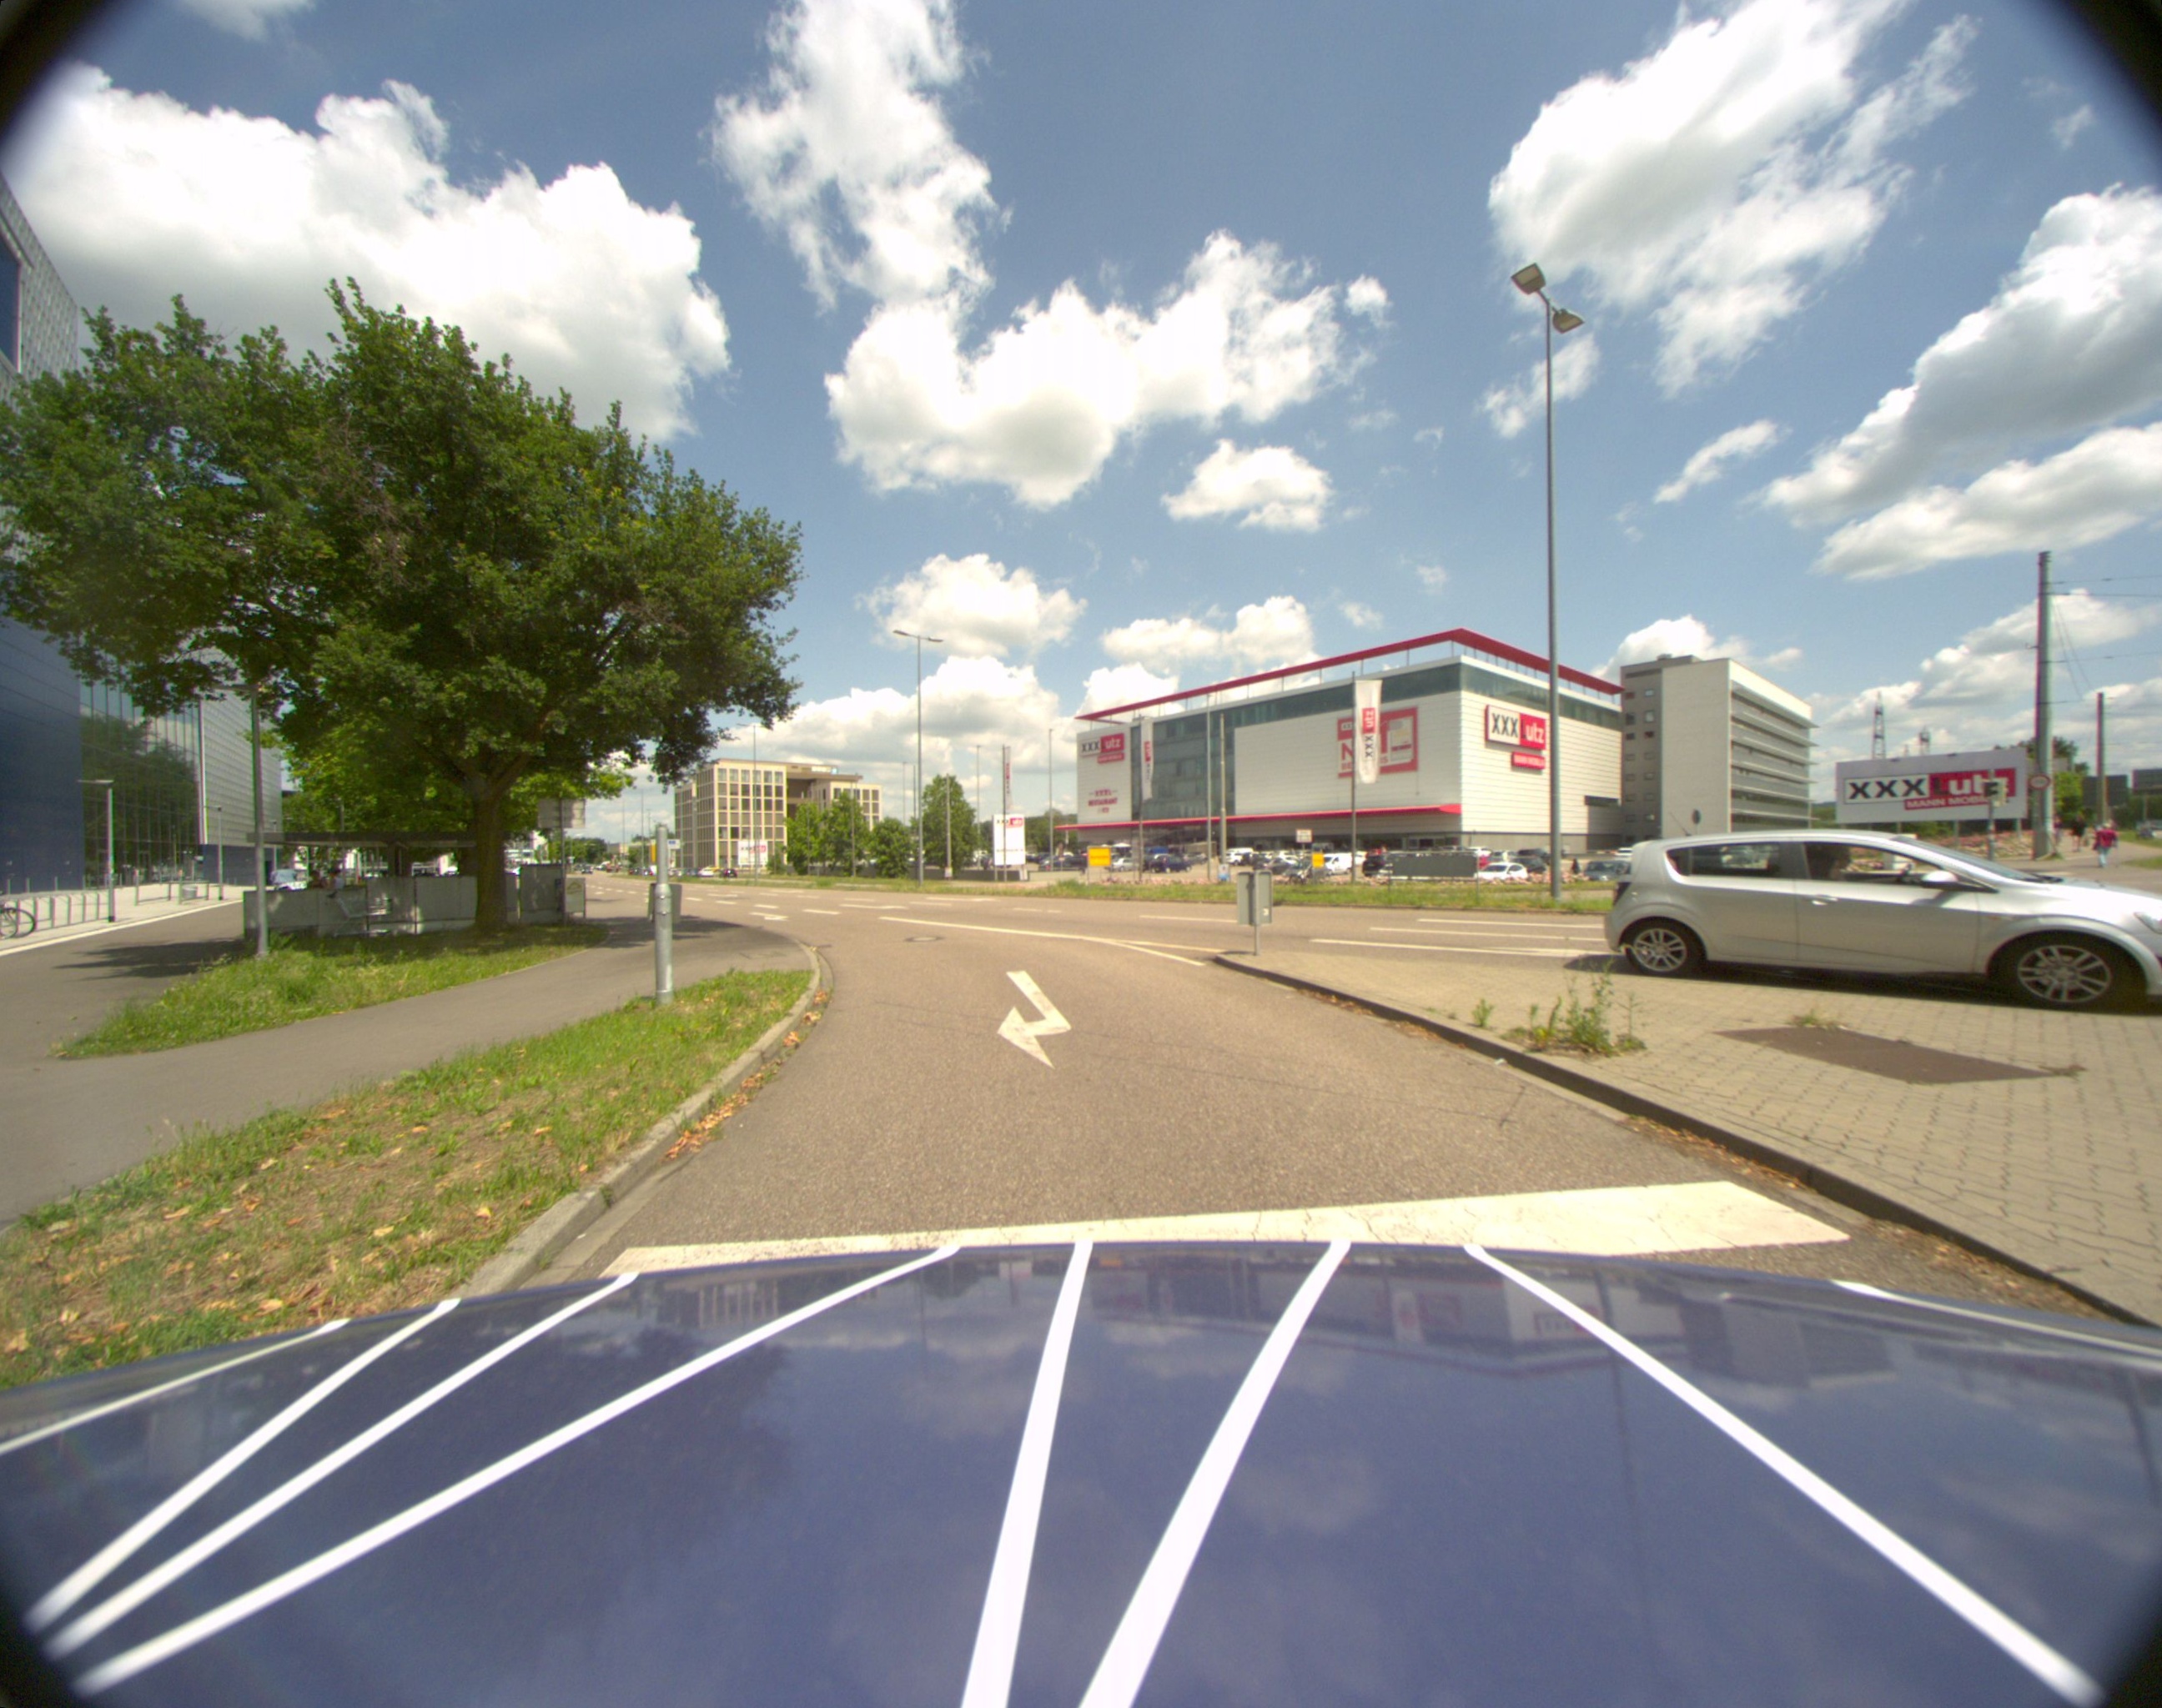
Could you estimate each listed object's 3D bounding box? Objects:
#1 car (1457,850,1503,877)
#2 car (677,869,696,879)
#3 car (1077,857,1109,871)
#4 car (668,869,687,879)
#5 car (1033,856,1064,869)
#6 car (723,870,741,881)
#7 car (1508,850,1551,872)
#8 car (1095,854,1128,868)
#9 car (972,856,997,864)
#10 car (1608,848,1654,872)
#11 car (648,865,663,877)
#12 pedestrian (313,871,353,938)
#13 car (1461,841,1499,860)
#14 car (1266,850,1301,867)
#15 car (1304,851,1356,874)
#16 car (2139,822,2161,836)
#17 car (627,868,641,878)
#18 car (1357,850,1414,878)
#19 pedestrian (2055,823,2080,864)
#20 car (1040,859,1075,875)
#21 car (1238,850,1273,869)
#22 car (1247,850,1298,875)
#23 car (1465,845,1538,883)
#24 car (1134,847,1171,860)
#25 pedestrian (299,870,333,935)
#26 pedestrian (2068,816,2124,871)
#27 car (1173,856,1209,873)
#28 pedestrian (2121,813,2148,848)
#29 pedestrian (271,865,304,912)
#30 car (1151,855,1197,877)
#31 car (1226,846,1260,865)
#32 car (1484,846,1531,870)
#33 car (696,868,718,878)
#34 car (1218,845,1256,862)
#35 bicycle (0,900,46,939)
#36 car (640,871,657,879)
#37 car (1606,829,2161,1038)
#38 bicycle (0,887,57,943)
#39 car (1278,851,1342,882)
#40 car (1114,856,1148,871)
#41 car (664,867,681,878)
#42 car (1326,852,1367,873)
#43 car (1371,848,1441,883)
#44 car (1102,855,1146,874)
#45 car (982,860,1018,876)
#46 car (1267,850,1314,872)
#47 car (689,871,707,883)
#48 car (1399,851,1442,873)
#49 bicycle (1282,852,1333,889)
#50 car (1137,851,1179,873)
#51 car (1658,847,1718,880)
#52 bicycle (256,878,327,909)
[{"bbox_3d":[30.068,0.683,57.209,1.994,1.977,5.320,-1,0,39],"label":"car"},{"bbox_3d":[-57.214,2.901,110.167,1.801,1.409,4.662,1,-1,-37],"label":"car"},{"bbox_3d":[1.789,1.444,110.300,4.371,1.977,1.995,-1,0,-39],"label":"car"},{"bbox_3d":[-61.280,3.027,115.439,1.801,1.393,4.833,-1,-1,-37],"label":"car"},{"bbox_3d":[-4.957,1.258,116.709,4.371,1.977,1.995,-1,0,-39],"label":"car"},{"bbox_3d":[-50.487,3.125,109.847,1.627,1.461,4.106,0,-1,-35],"label":"car"},{"bbox_3d":[40.653,0.615,68.864,4.371,1.977,1.995,-1,0,-39],"label":"car"},{"bbox_3d":[4.232,0.946,105.569,4.371,1.977,1.995,-1,0,-39],"label":"car"},{"bbox_3d":[-16.893,1.041,133.082,3.840,1.461,1.851,0,-1,-36],"label":"car"},{"bbox_3d":[45.295,0.480,62.500,4.371,1.977,1.995,-1,0,-39],"label":"car"},{"bbox_3d":[-73.827,2.958,131.829,1.867,2.031,3.567,0,-1,-35],"label":"car"},{"bbox_3d":[-18.790,1.248,19.091,0.547,1.652,0.545,-1,0,-28],"label":"pedestrian"},{"bbox_3d":[42.833,-0.418,81.537,4.094,1.977,1.995,-1,0,-37],"label":"car"},{"bbox_3d":[23.789,0.530,89.153,4.008,2.002,1.995,-1,0,-39],"label":"car"},{"bbox_3d":[20.217,0.679,61.591,4.371,1.828,1.995,-1,0,-39],"label":"car"},{"bbox_3d":[168.855,-3.939,119.866,4.007,2.001,1.995,0,-1,-32],"label":"car"},{"bbox_3d":[-76.472,3.291,130.013,1.801,1.634,4.160,0,-1,-35],"label":"car"},{"bbox_3d":[22.970,0.716,57.164,4.605,1.978,1.994,-2,1,-39],"label":"car"},{"bbox_3d":[44.051,-0.450,33.928,0.535,1.800,0.596,-1,0,-28],"label":"pedestrian"},{"bbox_3d":[-3.084,1.729,99.608,4.309,2.030,1.986,-1,0,-39],"label":"car"},{"bbox_3d":[19.752,0.604,86.031,4.008,2.002,1.772,-1,0,-39],"label":"car"},{"bbox_3d":[16.363,0.712,64.869,4.371,1.977,1.995,-1,0,-39],"label":"car"},{"bbox_3d":[22.979,0.528,41.477,4.008,2.002,1.995,-1,0,-37],"label":"car"},{"bbox_3d":[10.133,-0.007,107.461,5.144,1.768,2.193,0,-1,-40],"label":"car"},{"bbox_3d":[-19.778,1.242,19.645,0.547,1.652,0.477,-1,0,-40],"label":"pedestrian"},{"bbox_3d":[35.081,-0.364,26.268,0.865,1.827,0.799,-2,2,23],"label":"pedestrian"},{"bbox_3d":[13.662,1.312,94.155,4.371,1.977,1.995,0,-1,-38],"label":"car"},{"bbox_3d":[61.928,-1.374,44.658,0.568,2.001,0.773,-1,0,-18],"label":"pedestrian"},{"bbox_3d":[-29.631,1.273,28.382,0.524,1.711,0.635,0,1,2],"label":"pedestrian"},{"bbox_3d":[9.189,1.162,74.867,4.371,1.978,1.995,-2,1,-39],"label":"car"},{"bbox_3d":[20.591,0.191,96.501,4.580,2.293,1.865,-1,0,-39],"label":"car"},{"bbox_3d":[36.573,0.360,65.109,4.636,1.977,1.994,-1,0,-40],"label":"car"},{"bbox_3d":[-59.993,3.070,121.934,4.346,1.464,1.628,-2,-1,42],"label":"car"},{"bbox_3d":[18.107,-0.079,88.136,4.371,1.977,1.995,-1,0,-39],"label":"car"},{"bbox_3d":[-25.920,1.557,17.833,1.872,0.876,0.469,0,-1,-38],"label":"bicycle"},{"bbox_3d":[-68.709,3.316,120.597,1.801,1.243,4.296,0,-1,-36],"label":"car"},{"bbox_3d":[7.556,0.618,7.203,1.904,1.461,3.823,-3,0,-40],"label":"car"},{"bbox_3d":[-24.965,1.384,17.110,2.150,1.222,0.719,0,-1,-29],"label":"bicycle"},{"bbox_3d":[15.334,0.819,50.872,4.371,1.977,1.995,-1,0,-39],"label":"car"},{"bbox_3d":[6.723,1.242,101.878,4.371,1.977,1.995,-1,0,-39],"label":"car"},{"bbox_3d":[-65.122,2.954,120.969,1.801,1.691,4.216,0,-1,-36],"label":"car"},{"bbox_3d":[26.680,0.842,76.354,4.094,1.977,1.995,-1,0,-39],"label":"car"},{"bbox_3d":[19.259,0.635,45.002,4.371,1.977,1.995,-1,0,-39],"label":"car"},{"bbox_3d":[4.547,1.080,80.289,4.371,1.977,1.995,-1,0,-39],"label":"car"},{"bbox_3d":[-10.638,1.844,100.027,4.371,1.977,1.995,-1,-2,-39],"label":"car"},{"bbox_3d":[19.363,0.617,70.284,4.371,1.978,1.994,-1,1,-39],"label":"car"},{"bbox_3d":[-52.120,3.100,103.385,1.748,1.466,3.666,0,0,-35],"label":"car"},{"bbox_3d":[31.549,0.693,70.531,4.094,1.977,1.995,-1,0,-39],"label":"car"},{"bbox_3d":[10.549,0.765,35.393,1.023,1.665,2.043,0,-1,-38],"label":"bicycle"},{"bbox_3d":[7.825,0.794,76.867,4.092,1.978,1.838,-2,1,-40],"label":"car"},{"bbox_3d":[37.485,0.562,46.866,4.371,1.977,1.995,-1,0,-39],"label":"car"},{"bbox_3d":[-29.460,1.476,28.364,2.013,1.101,0.577,0,0,-1],"label":"bicycle"}]
